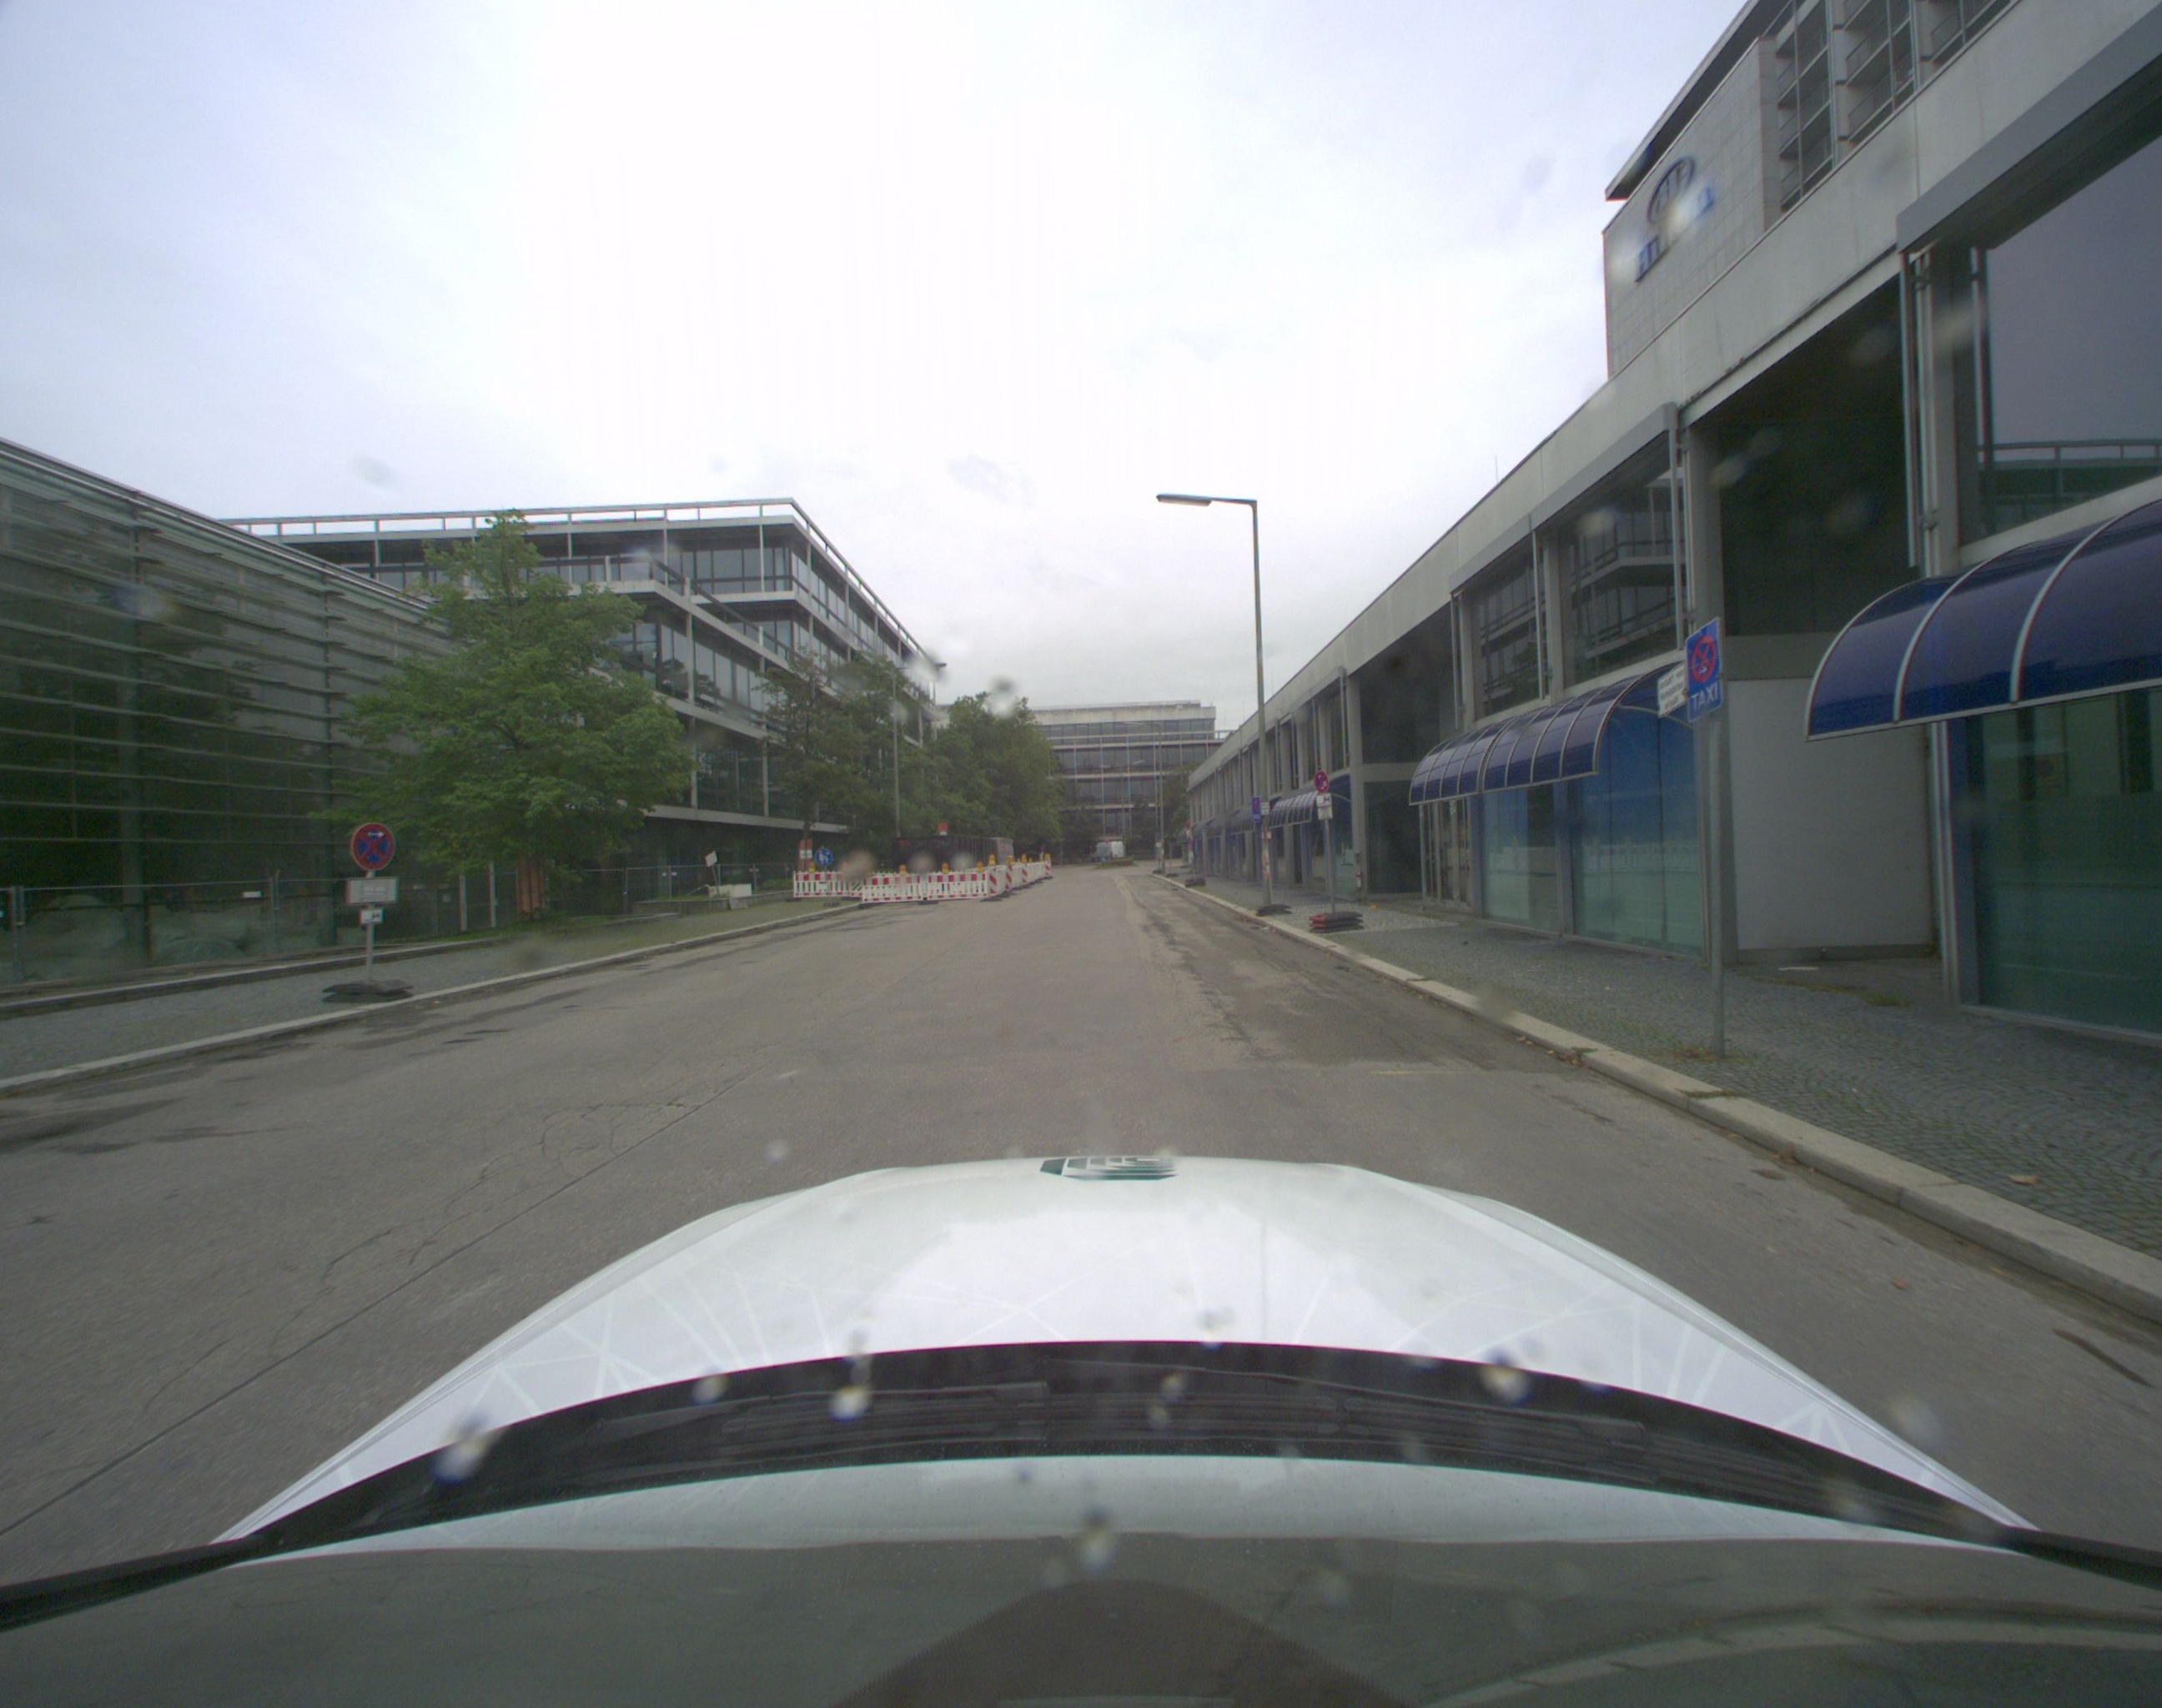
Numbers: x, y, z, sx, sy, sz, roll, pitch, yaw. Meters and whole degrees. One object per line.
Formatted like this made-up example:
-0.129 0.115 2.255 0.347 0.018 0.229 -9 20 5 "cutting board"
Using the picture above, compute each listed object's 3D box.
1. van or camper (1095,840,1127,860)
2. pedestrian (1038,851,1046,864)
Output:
3.862 -0.486 106.682 2.095 2.492 5.027 -2 0 -24 "van or camper"
-5.078 0.405 105.623 0.743 1.677 0.678 -2 0 -18 "pedestrian"
